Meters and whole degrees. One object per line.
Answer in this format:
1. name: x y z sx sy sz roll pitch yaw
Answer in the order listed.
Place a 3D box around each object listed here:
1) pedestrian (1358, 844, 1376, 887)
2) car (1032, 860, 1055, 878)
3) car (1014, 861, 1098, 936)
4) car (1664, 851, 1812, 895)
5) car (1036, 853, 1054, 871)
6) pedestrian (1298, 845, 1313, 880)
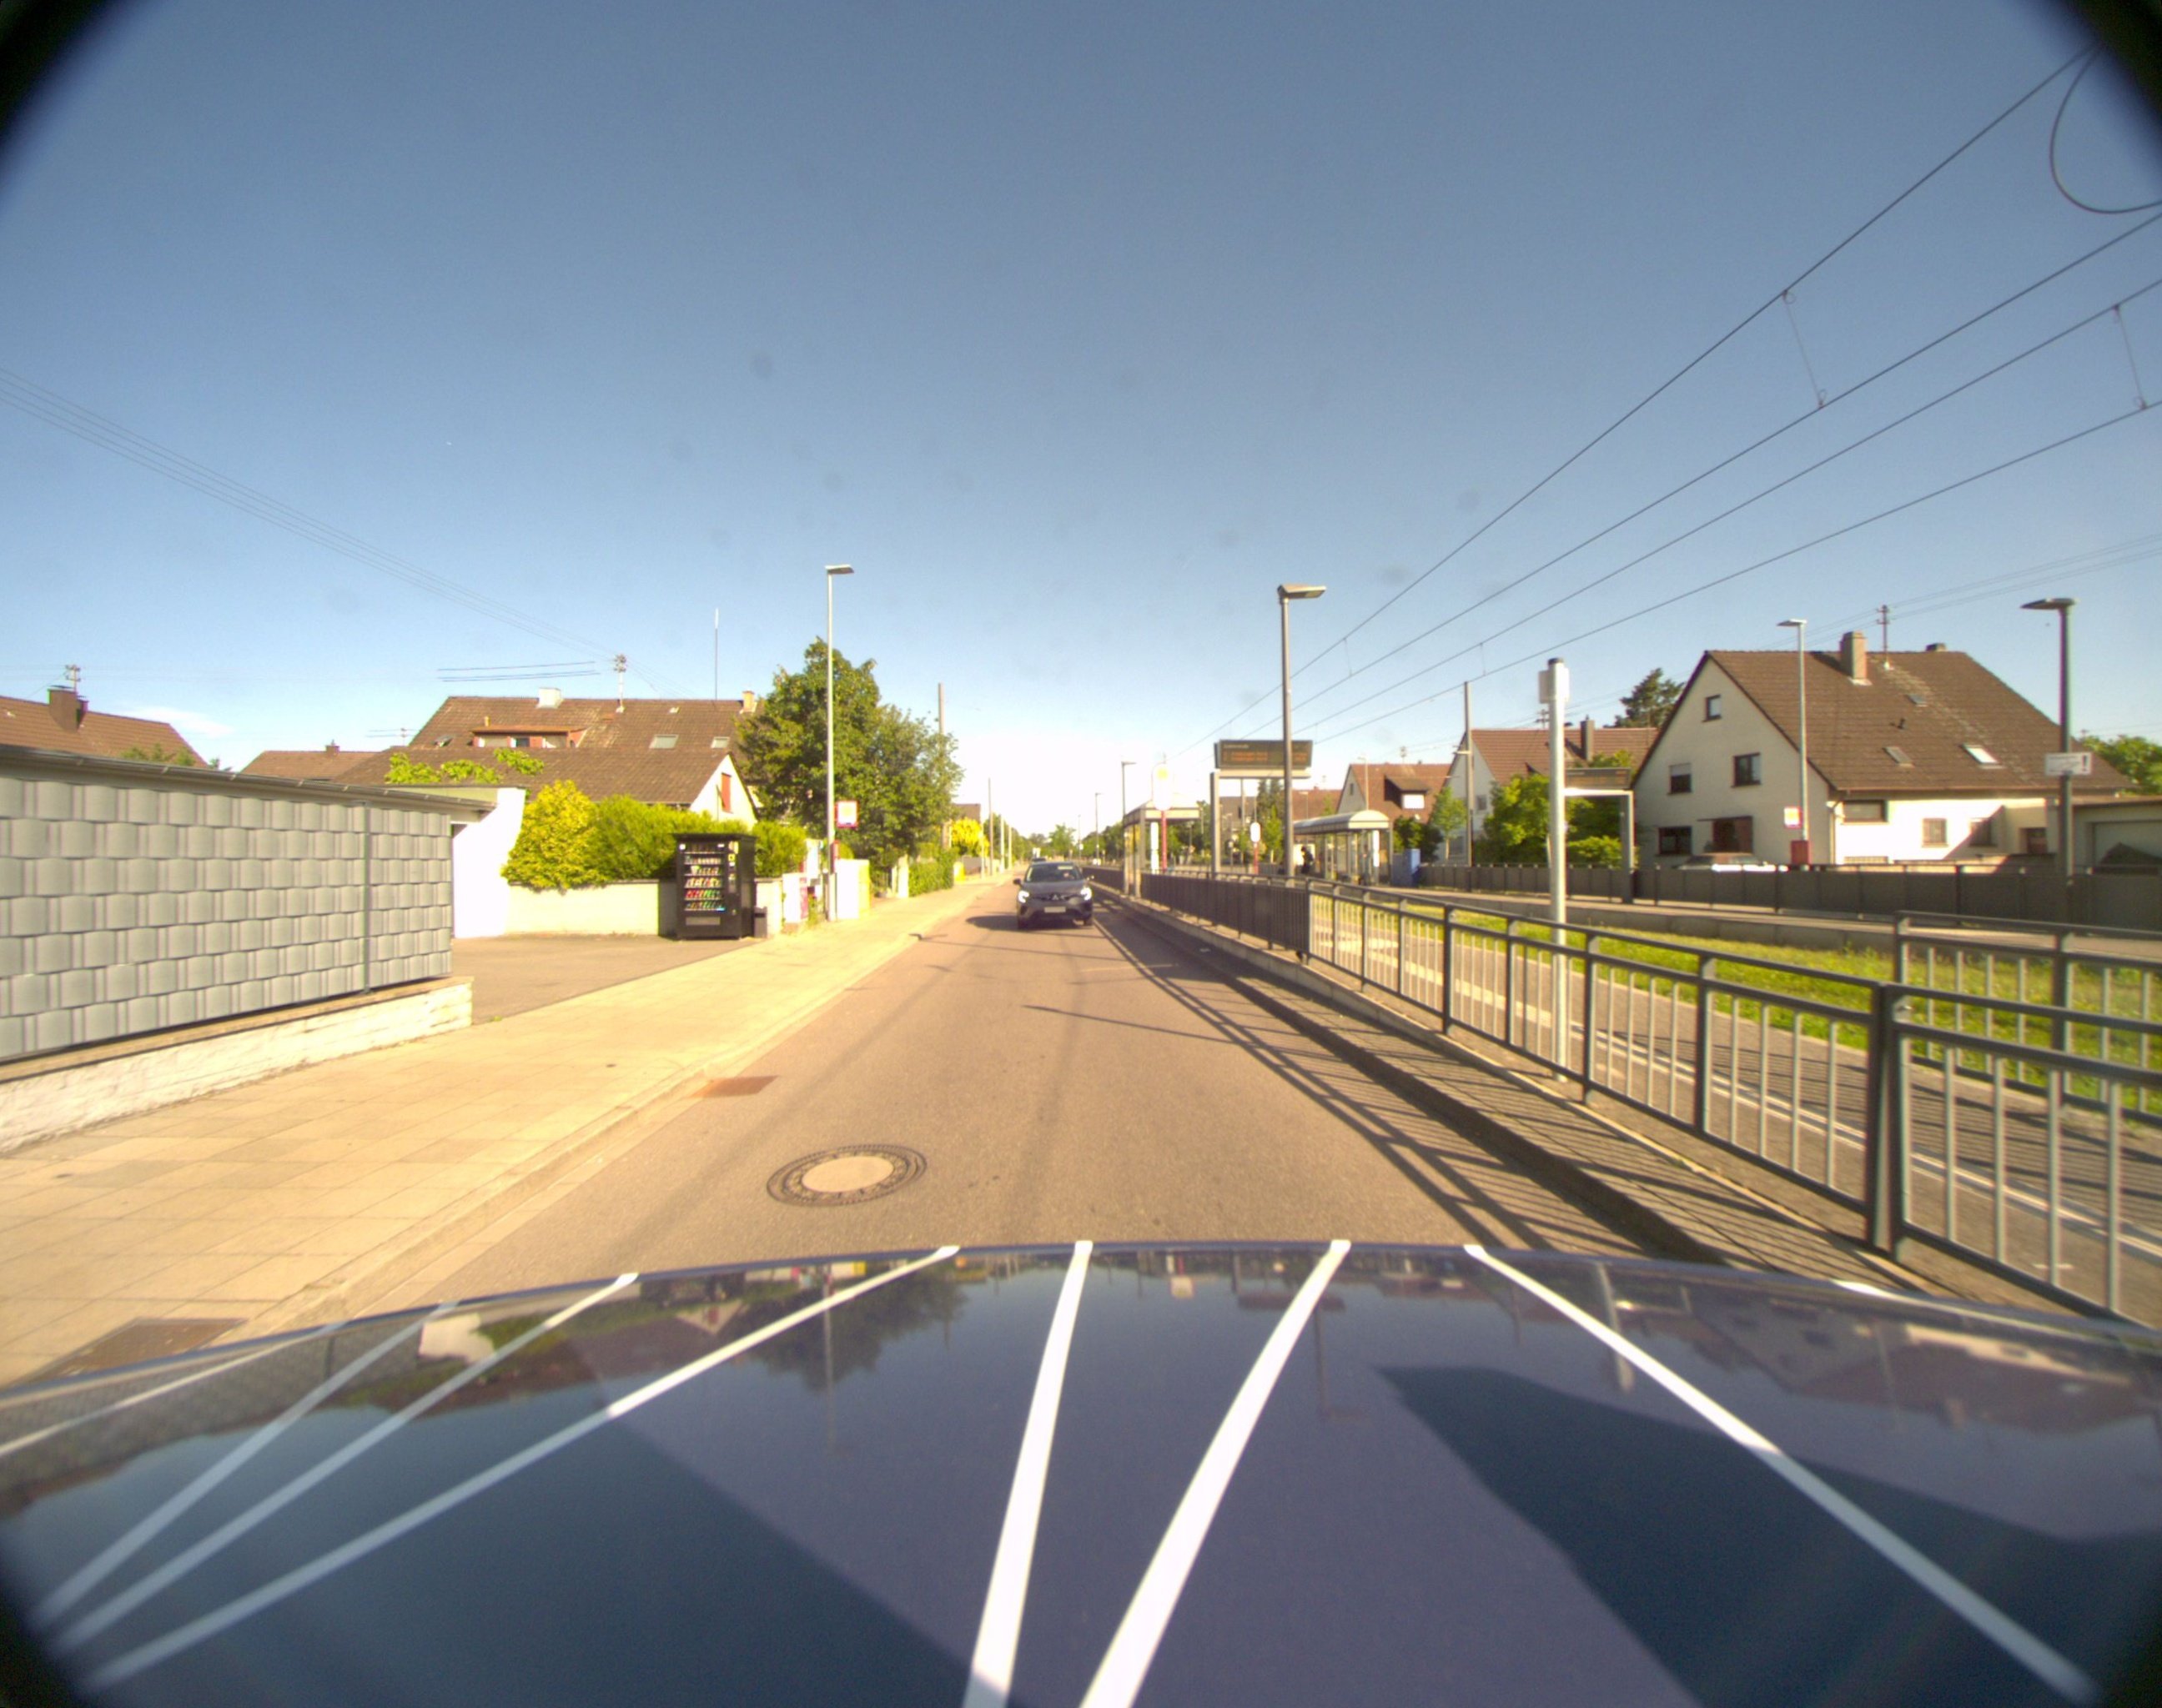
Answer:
1. pedestrian: 11.831 0.467 31.444 0.622 1.742 0.442 -1 0 17
2. car: -2.995 1.187 61.235 1.687 1.379 3.999 -2 0 -2
3. car: -0.570 1.011 19.096 1.830 1.570 4.000 -2 0 0
4. car: 24.712 0.686 28.670 3.990 1.526 1.999 -1 0 -5
5. car: -4.657 1.035 98.464 2.090 2.226 4.721 -2 0 -1
6. pedestrian: 11.400 0.442 38.564 0.535 1.742 0.543 -1 0 -2
